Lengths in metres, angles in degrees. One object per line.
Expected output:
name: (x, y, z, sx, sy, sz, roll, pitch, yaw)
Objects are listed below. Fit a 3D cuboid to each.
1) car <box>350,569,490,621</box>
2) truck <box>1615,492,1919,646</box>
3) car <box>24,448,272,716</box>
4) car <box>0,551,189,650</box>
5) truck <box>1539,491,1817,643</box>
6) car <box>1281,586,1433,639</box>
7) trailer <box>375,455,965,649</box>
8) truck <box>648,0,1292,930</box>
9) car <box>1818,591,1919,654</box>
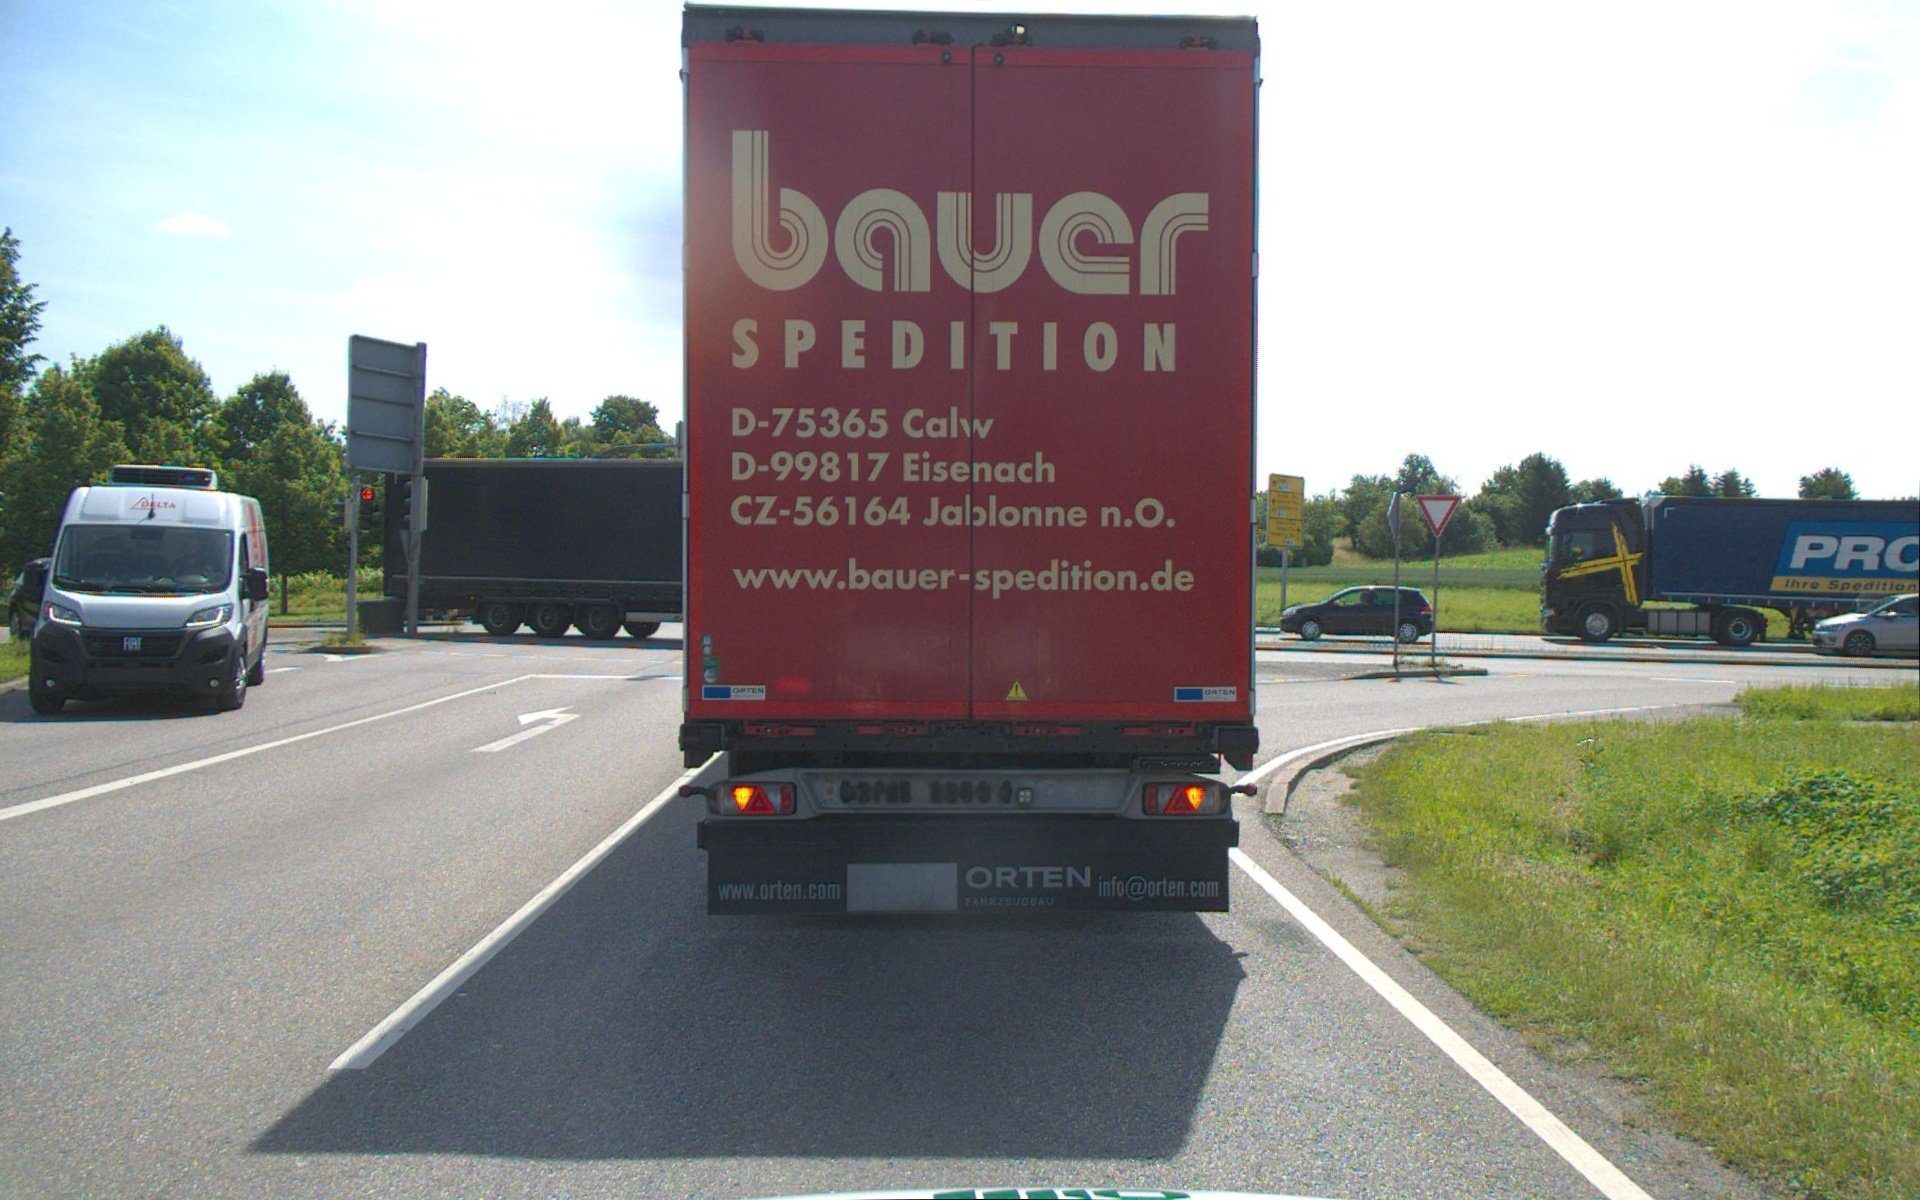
car: (-17.137, -0.155, 52.514, 4.017, 1.574, 1.872, 1, -1, 25)
truck: (25.542, -0.827, 45.159, 13.983, 4.049, 3.029, 1, 1, 19)
car: (-9.495, -0.230, 19.815, 2.087, 2.700, 5.949, 1, 1, -21)
car: (-16.651, 0.022, 31.687, 4.033, 1.780, 1.863, 0, -1, 40)
truck: (20.151, -0.962, 46.876, 6.783, 4.063, 3.030, 1, 1, 16)
car: (10.721, 0.339, 44.781, 3.902, 1.333, 1.768, 1, -1, 13)
trailer: (-6.754, -1.191, 38.189, 13.393, 4.132, 2.801, 1, 1, 14)
truck: (-0.106, -0.707, 15.289, 2.679, 3.993, 16.622, 1, 1, -1)
car: (23.589, 0.564, 40.940, 3.910, 1.517, 1.539, 1, -1, 15)
